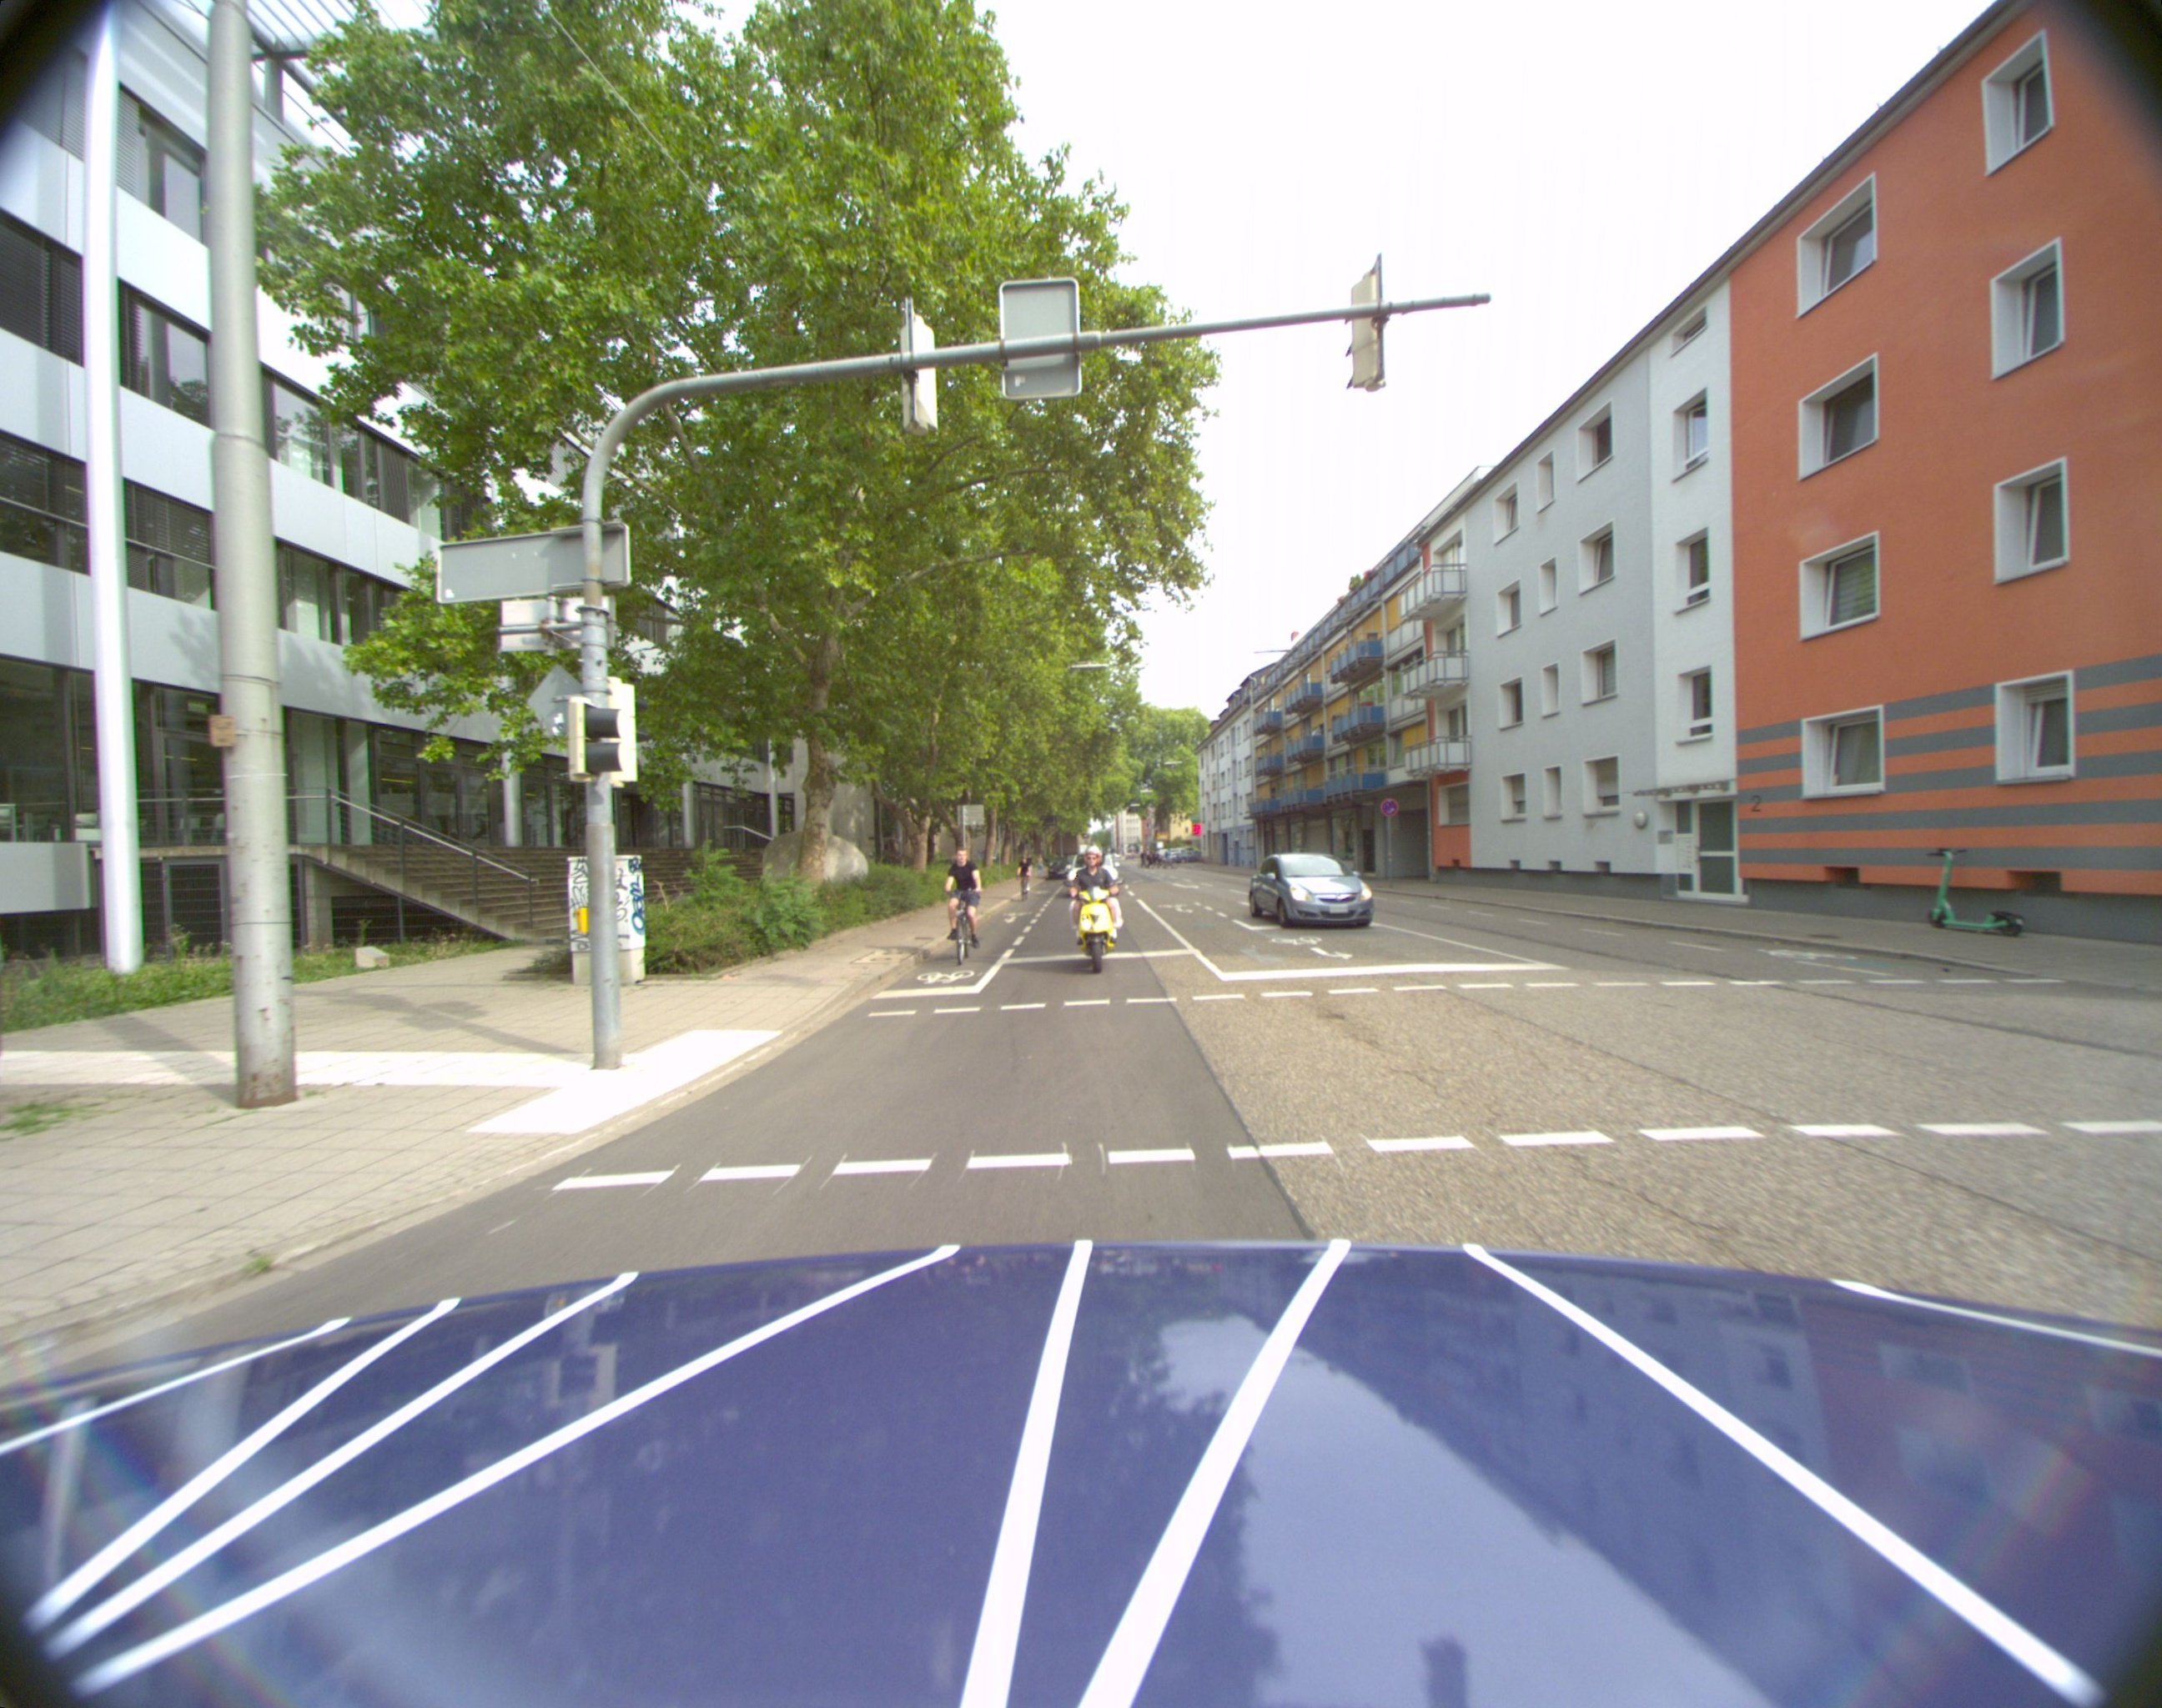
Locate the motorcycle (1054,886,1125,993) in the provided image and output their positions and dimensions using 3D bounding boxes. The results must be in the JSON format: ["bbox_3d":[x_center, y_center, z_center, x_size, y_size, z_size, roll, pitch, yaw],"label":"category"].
[{"bbox_3d":[0.156,1.081,10.196,0.781,1.171,1.993,-4,0,3],"label":"motorcycle"}]

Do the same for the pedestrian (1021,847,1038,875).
[{"bbox_3d":[-3.874,0.519,57.322,1.003,2.002,0.997,-4,1,3],"label":"pedestrian"}]

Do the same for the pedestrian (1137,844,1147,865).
[{"bbox_3d":[5.969,0.072,73.906,0.842,2.002,0.875,-4,1,5],"label":"pedestrian"}]

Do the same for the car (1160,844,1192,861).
[{"bbox_3d":[12.837,-0.156,102.951,3.997,2.002,2.000,-4,1,0],"label":"car"}]

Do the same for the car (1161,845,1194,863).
[{"bbox_3d":[12.729,-0.016,100.383,3.997,2.002,2.000,-4,1,0],"label":"car"}]

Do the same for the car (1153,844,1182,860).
[{"bbox_3d":[12.736,-0.294,112.232,3.997,2.002,2.000,-4,1,0],"label":"car"}]

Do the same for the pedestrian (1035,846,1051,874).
[{"bbox_3d":[-2.846,0.459,57.238,1.003,2.002,0.997,-4,1,3],"label":"pedestrian"}]

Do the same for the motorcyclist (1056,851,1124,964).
[{"bbox_3d":[0.134,0.695,10.228,0.781,1.419,0.764,-4,0,3],"label":"motorcyclist"}]

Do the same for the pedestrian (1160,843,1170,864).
[{"bbox_3d":[8.173,-0.071,73.712,0.842,2.002,0.875,-4,1,5],"label":"pedestrian"}]

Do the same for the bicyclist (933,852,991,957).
[{"bbox_3d":[-1.926,0.793,12.287,0.773,1.574,0.801,-5,0,-10],"label":"bicyclist"}]

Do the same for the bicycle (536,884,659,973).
[{"bbox_3d":[-7.399,1.098,11.734,0.700,1.162,1.725,-4,0,1],"label":"bicycle"}]

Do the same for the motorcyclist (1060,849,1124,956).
[{"bbox_3d":[0.166,0.666,10.752,0.781,1.419,0.689,-4,0,3],"label":"motorcyclist"}]

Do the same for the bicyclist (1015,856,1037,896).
[{"bbox_3d":[-2.039,0.811,28.352,0.784,1.438,0.914,-1,1,-3],"label":"bicyclist"}]

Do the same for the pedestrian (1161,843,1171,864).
[{"bbox_3d":[7.980,-0.049,71.386,0.842,2.002,0.875,-4,1,5],"label":"pedestrian"}]

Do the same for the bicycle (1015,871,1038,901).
[{"bbox_3d":[-2.013,1.176,28.392,0.771,1.009,2.407,0,0,-2],"label":"bicycle"}]

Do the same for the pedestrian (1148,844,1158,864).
[{"bbox_3d":[7.141,-0.009,75.036,0.842,2.002,0.875,-4,1,5],"label":"pedestrian"}]

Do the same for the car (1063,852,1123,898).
[{"bbox_3d":[0.558,0.755,29.789,1.998,1.543,4.522,-4,0,4],"label":"car"}]

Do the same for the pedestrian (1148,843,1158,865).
[{"bbox_3d":[6.748,0.032,71.202,0.842,2.002,0.875,-4,1,5],"label":"pedestrian"}]

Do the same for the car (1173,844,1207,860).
[{"bbox_3d":[13.687,-0.246,95.691,3.870,1.678,1.882,-4,0,0],"label":"car"}]

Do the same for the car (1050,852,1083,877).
[{"bbox_3d":[-0.964,0.699,53.262,1.998,1.532,4.272,-4,0,3],"label":"car"}]

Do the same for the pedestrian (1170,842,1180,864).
[{"bbox_3d":[8.846,-0.106,71.485,0.842,2.002,0.875,-4,1,5],"label":"pedestrian"}]

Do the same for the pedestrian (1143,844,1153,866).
[{"bbox_3d":[6.370,0.054,71.939,0.842,2.002,0.875,-4,1,5],"label":"pedestrian"}]

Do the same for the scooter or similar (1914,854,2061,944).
[{"bbox_3d":[12.344,0.576,10.400,0.369,1.118,1.354,-4,0,1],"label":"scooter or similar"}]

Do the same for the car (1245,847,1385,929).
[{"bbox_3d":[4.613,0.600,15.548,1.673,1.430,3.820,-2,0,0],"label":"car"}]

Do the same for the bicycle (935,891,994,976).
[{"bbox_3d":[-1.872,1.213,12.183,0.773,1.124,2.002,-5,0,-9],"label":"bicycle"}]

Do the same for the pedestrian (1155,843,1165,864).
[{"bbox_3d":[7.608,-0.032,73.266,0.842,2.002,0.875,-4,1,5],"label":"pedestrian"}]
